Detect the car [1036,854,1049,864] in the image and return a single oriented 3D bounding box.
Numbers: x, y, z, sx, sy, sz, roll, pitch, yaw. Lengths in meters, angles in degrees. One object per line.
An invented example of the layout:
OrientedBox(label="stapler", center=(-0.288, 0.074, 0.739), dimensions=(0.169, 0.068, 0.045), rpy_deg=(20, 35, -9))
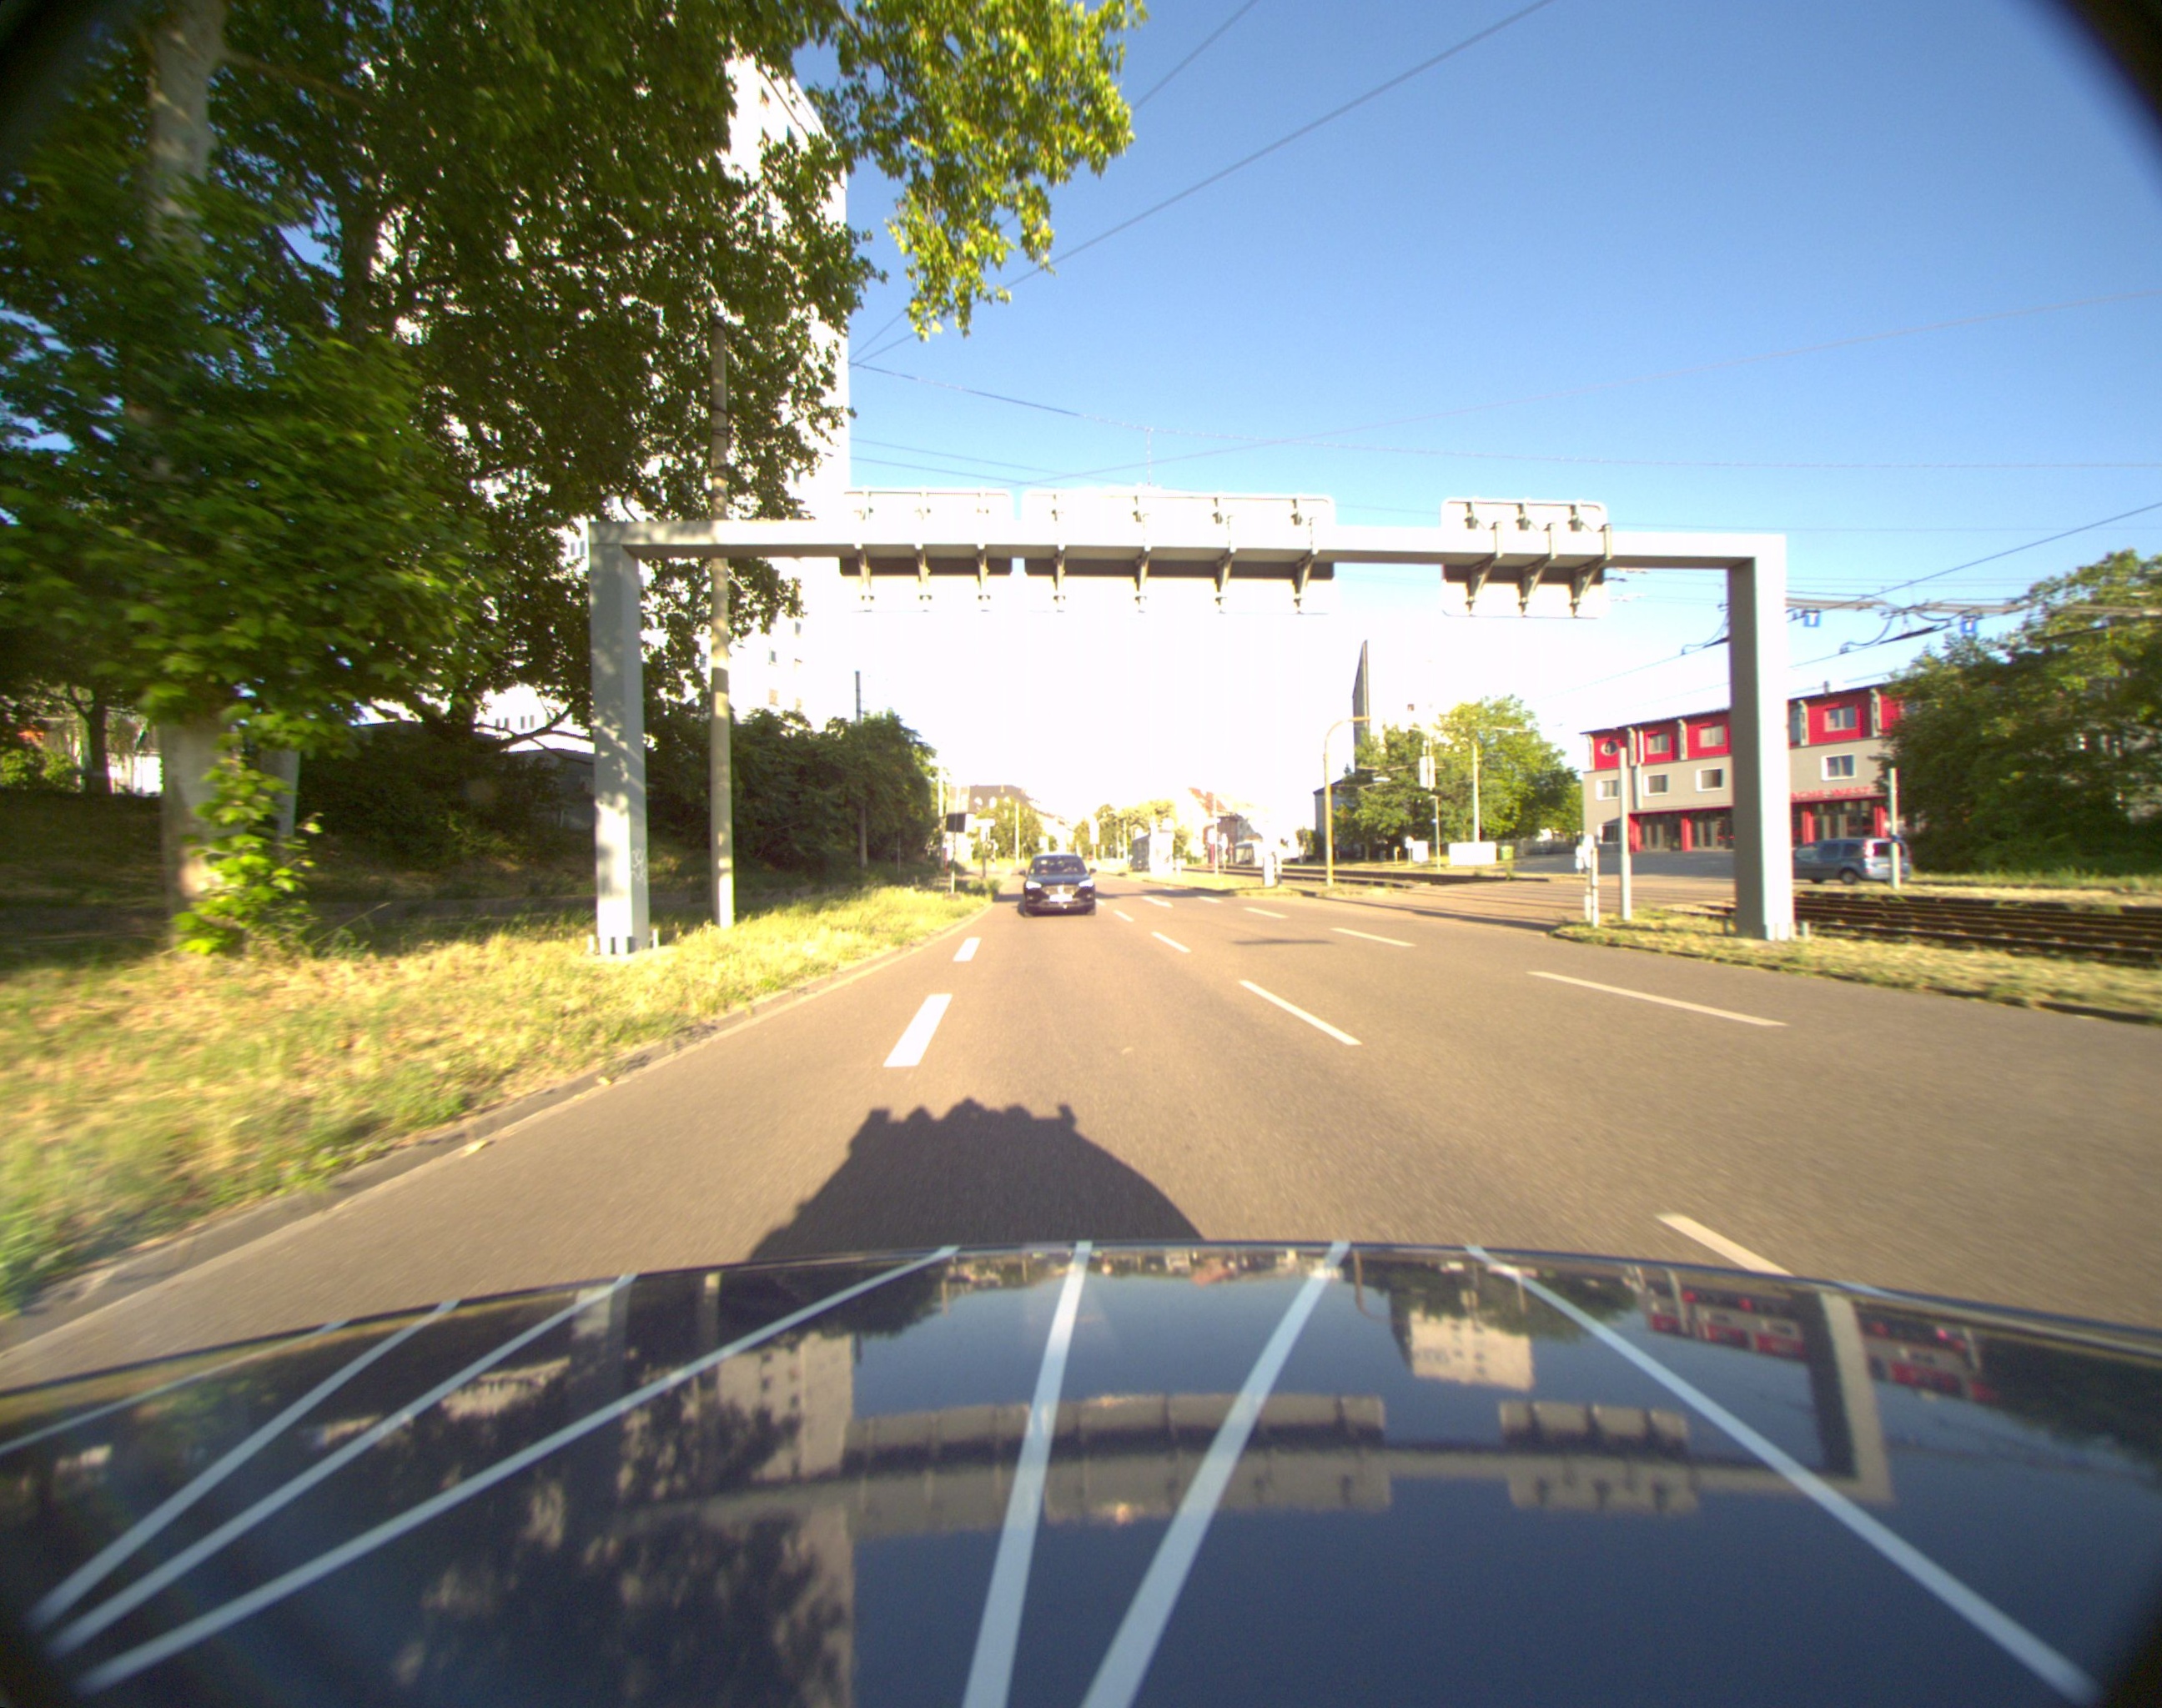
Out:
OrientedBox(label="car", center=(-5.626, 0.760, 111.802), dimensions=(1.741, 1.429, 3.998), rpy_deg=(-2, 0, -5))

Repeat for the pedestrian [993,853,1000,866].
OrientedBox(label="pedestrian", center=(-10.449, 0.663, 93.733), dimensions=(0.592, 1.586, 0.547), rpy_deg=(0, 1, 32))

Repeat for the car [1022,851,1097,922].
OrientedBox(label="car", center=(-0.653, 0.799, 21.035), dimensions=(1.819, 1.670, 4.621), rpy_deg=(-1, 1, -3))

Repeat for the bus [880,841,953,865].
OrientedBox(label="bus", center=(-21.298, -0.104, 98.510), dimensions=(8.873, 3.007, 2.607), rpy_deg=(-1, 0, -32))

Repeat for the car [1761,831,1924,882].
OrientedBox(label="car", center=(29.120, 0.114, 29.275), dimensions=(1.938, 1.777, 4.258), rpy_deg=(-1, -1, -2))
